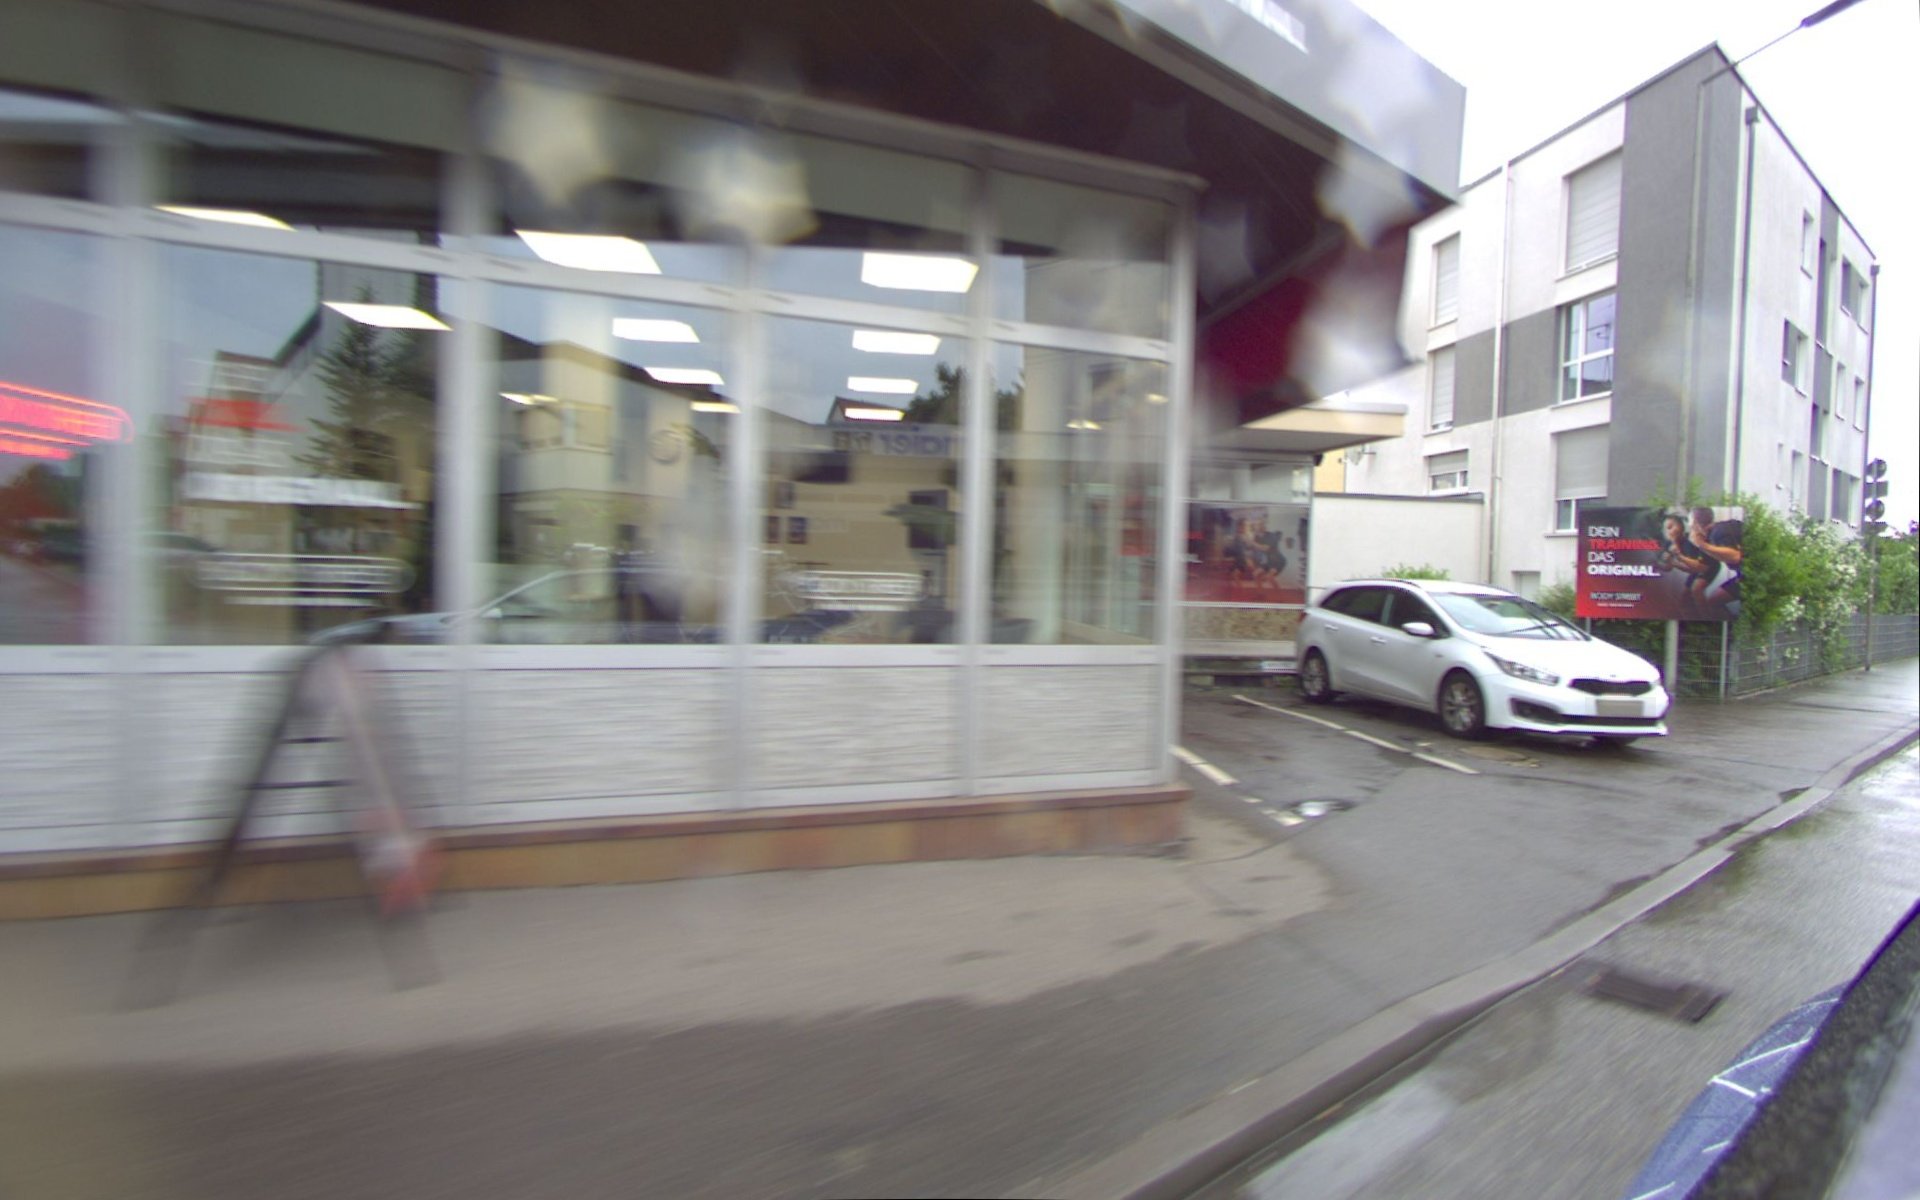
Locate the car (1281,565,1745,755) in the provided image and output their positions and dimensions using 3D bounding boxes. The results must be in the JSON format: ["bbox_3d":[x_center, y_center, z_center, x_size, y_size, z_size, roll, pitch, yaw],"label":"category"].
[{"bbox_3d":[5.286,0.466,10.478,1.834,1.513,4.279,3,1,-11],"label":"car"}]
